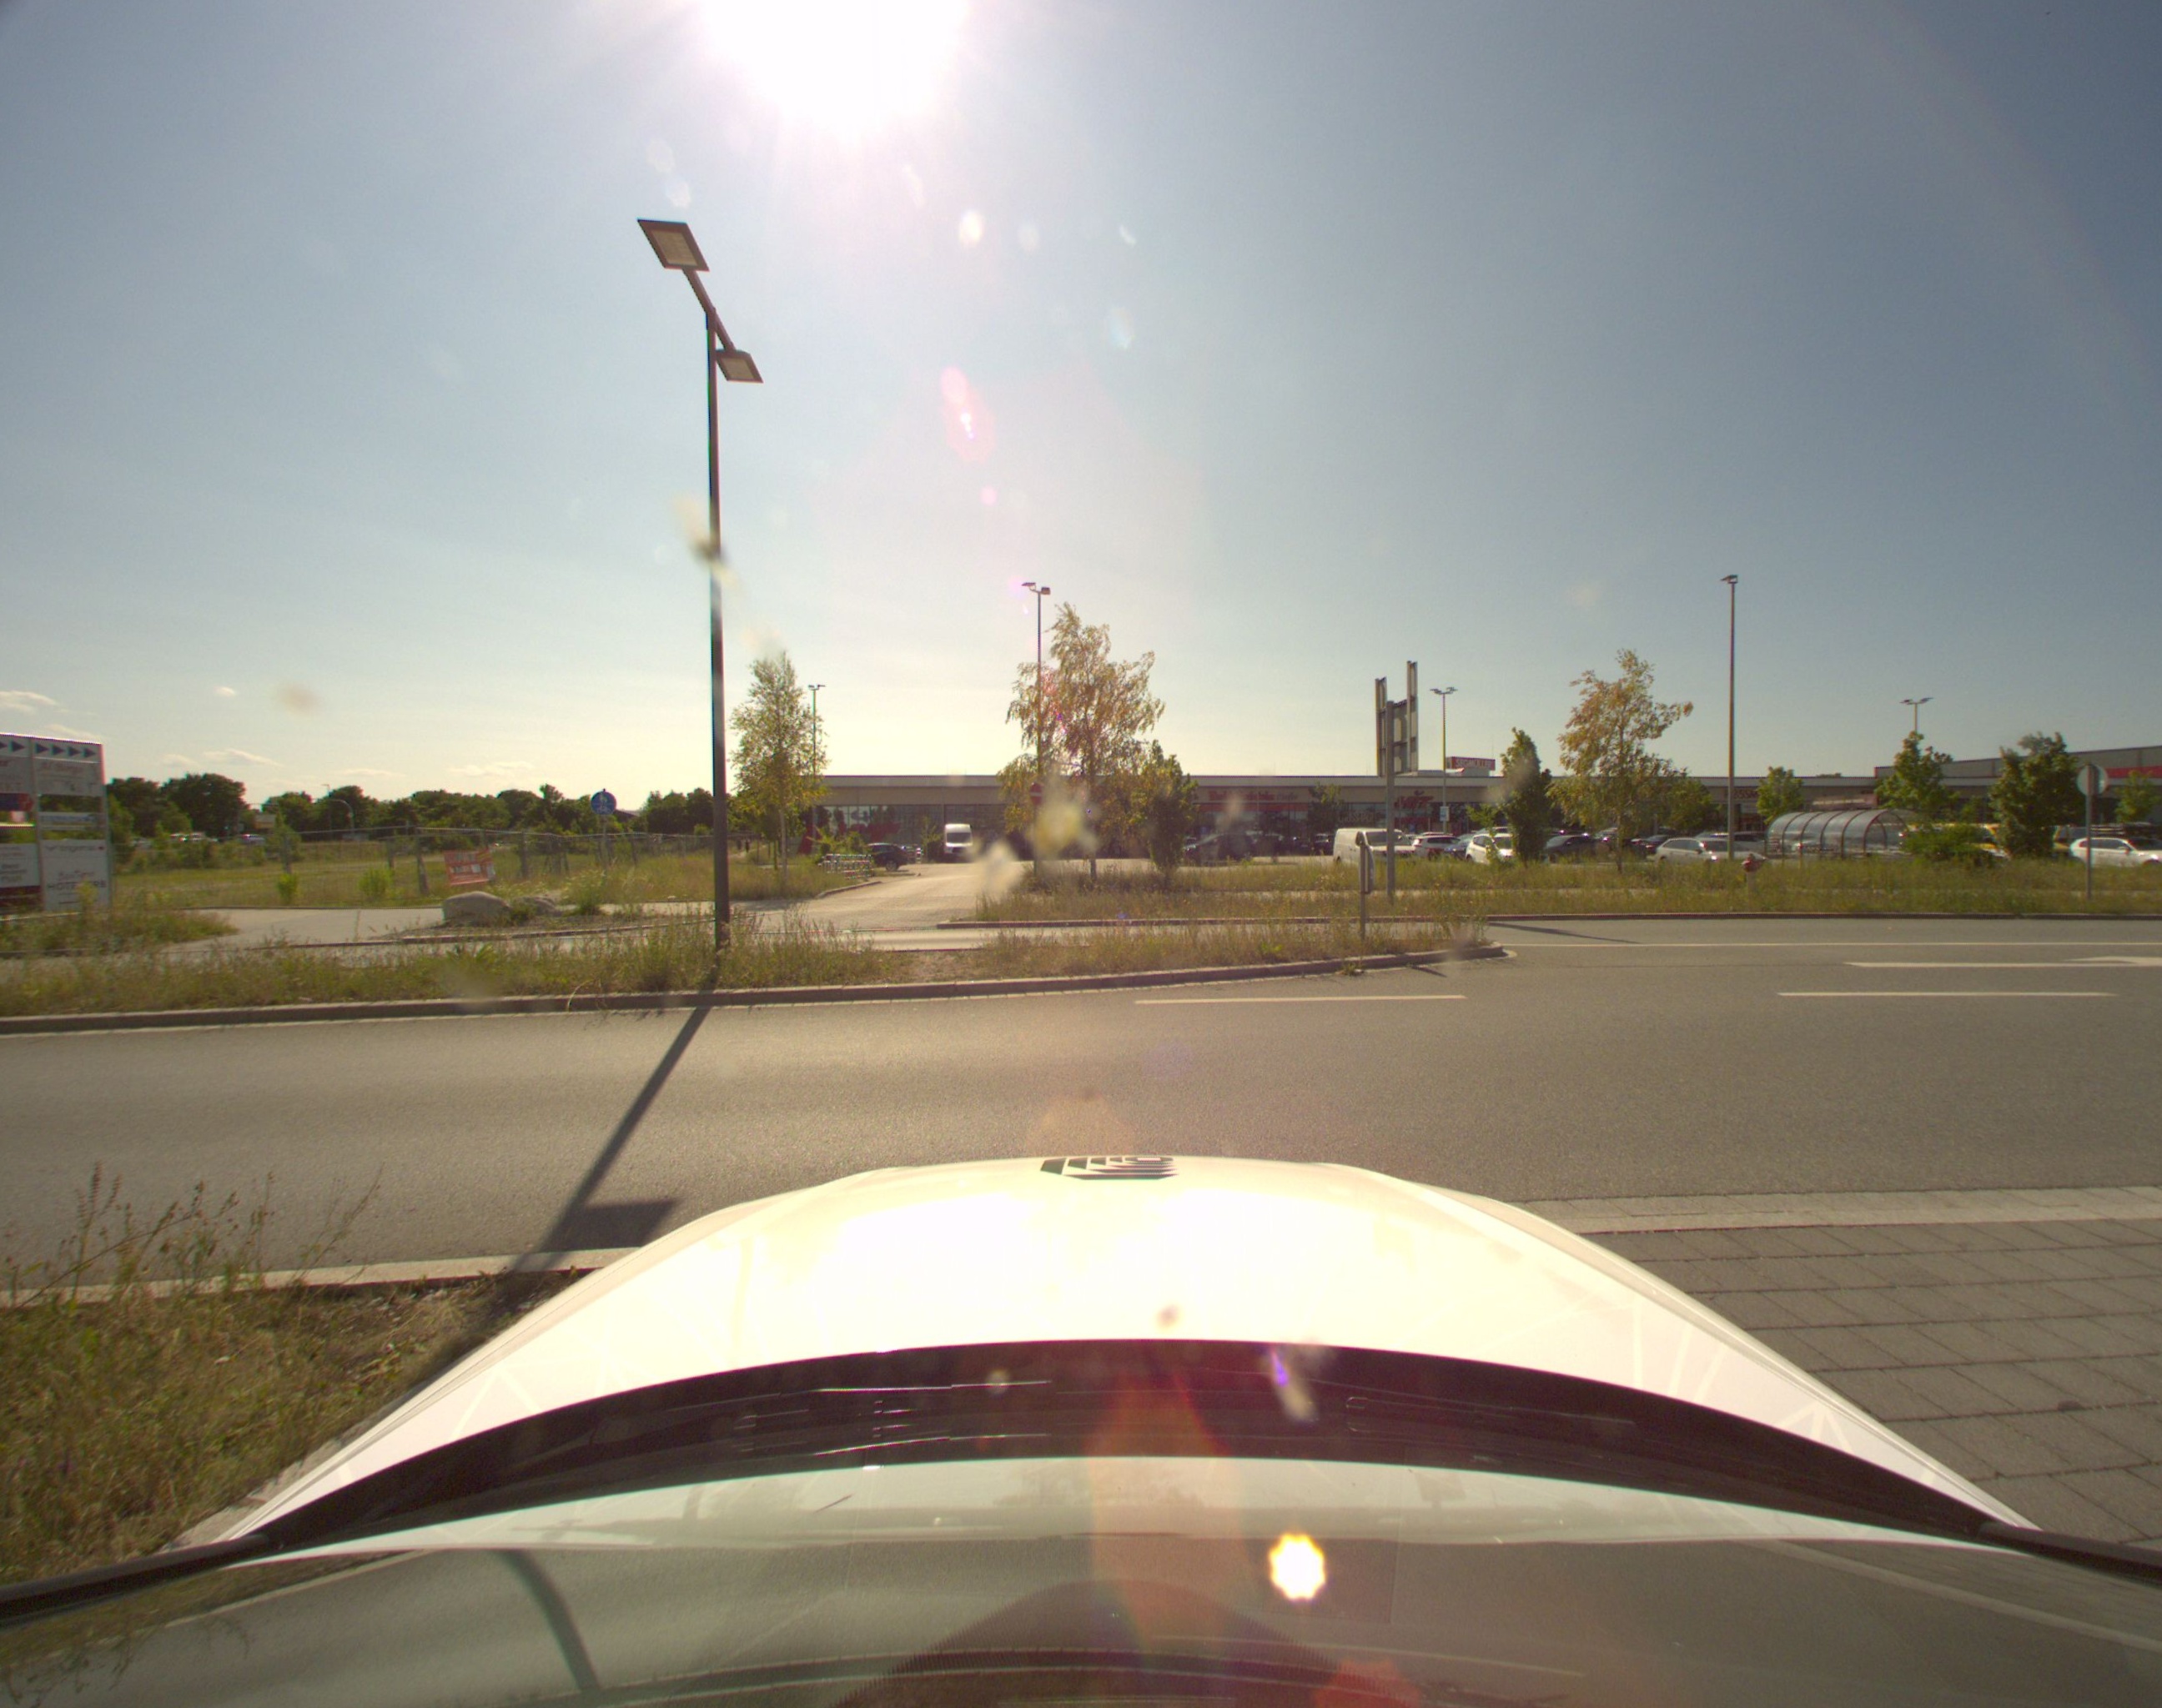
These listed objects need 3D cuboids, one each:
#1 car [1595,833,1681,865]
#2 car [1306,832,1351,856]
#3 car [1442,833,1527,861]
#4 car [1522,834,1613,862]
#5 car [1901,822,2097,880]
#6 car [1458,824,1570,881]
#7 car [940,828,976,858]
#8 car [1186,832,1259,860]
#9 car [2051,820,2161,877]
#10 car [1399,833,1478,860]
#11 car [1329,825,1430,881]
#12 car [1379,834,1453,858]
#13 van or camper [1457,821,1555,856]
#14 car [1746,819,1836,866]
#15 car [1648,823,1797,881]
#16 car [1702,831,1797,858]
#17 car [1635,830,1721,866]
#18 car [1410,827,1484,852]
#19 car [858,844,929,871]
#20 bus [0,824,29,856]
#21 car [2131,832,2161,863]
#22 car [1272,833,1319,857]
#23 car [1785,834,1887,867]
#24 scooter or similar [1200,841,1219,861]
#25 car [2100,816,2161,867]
[{"bbox_3d":[37.066,-0.359,54.279,4.460,2.102,1.998,0,0,-4],"label":"car"},{"bbox_3d":[18.688,-0.767,61.760,1.990,1.707,3.995,-1,1,-4],"label":"car"},{"bbox_3d":[21.183,-0.369,42.778,3.721,1.390,1.725,-1,1,-11],"label":"car"},{"bbox_3d":[26.350,-0.325,44.184,3.982,1.508,1.871,0,1,-7],"label":"car"},{"bbox_3d":[34.156,-0.154,30.594,2.145,2.013,5.130,0,1,9],"label":"car"},{"bbox_3d":[16.707,-0.108,31.778,2.146,2.013,5.126,0,1,6],"label":"car"},{"bbox_3d":[-8.800,-0.820,57.952,2.223,1.977,6.671,-1,1,-11],"label":"car"},{"bbox_3d":[8.031,-0.465,46.460,3.791,1.508,1.728,-1,1,-8],"label":"car"},{"bbox_3d":[39.154,-0.230,30.031,1.926,2.013,4.422,0,1,9],"label":"car"},{"bbox_3d":[19.857,-0.432,45.248,3.721,1.390,1.725,-1,1,-11],"label":"car"},{"bbox_3d":[11.503,-0.094,31.796,2.074,2.013,5.229,0,1,0],"label":"car"},{"bbox_3d":[19.833,-0.487,48.294,3.721,1.390,1.725,-1,1,-11],"label":"car"},{"bbox_3d":[25.835,-0.972,49.569,5.028,2.013,1.996,-1,1,-6],"label":"van or camper"},{"bbox_3d":[43.683,-0.693,50.136,4.476,2.821,1.991,0,0,-14],"label":"car"},{"bbox_3d":[24.481,-0.130,31.376,2.146,2.013,5.126,0,1,6],"label":"car"},{"bbox_3d":[37.901,-0.533,46.222,4.330,1.520,1.652,0,0,-6],"label":"car"},{"bbox_3d":[37.487,-0.370,51.206,4.476,2.191,1.991,0,0,-14],"label":"car"},{"bbox_3d":[25.734,-0.994,57.299,4.463,1.706,1.871,0,0,-5],"label":"car"},{"bbox_3d":[-10.516,0.175,45.917,3.834,1.423,1.765,0,1,-12],"label":"car"},{"bbox_3d":[-93.647,-1.101,67.077,2.580,2.735,11.496,0,1,-19],"label":"bus"},{"bbox_3d":[74.337,-0.463,55.145,4.467,2.037,1.995,0,0,-8],"label":"car"},{"bbox_3d":[16.062,-0.729,61.133,1.993,1.707,3.989,-1,1,-9],"label":"car"},{"bbox_3d":[43.814,-0.231,47.316,4.467,1.863,1.995,0,0,-8],"label":"car"},{"bbox_3d":[7.044,-0.183,44.651,0.941,1.079,0.651,-1,1,-4],"label":"scooter or similar"},{"bbox_3d":[61.950,-0.721,47.178,4.476,2.821,1.991,0,0,-14],"label":"car"}]
